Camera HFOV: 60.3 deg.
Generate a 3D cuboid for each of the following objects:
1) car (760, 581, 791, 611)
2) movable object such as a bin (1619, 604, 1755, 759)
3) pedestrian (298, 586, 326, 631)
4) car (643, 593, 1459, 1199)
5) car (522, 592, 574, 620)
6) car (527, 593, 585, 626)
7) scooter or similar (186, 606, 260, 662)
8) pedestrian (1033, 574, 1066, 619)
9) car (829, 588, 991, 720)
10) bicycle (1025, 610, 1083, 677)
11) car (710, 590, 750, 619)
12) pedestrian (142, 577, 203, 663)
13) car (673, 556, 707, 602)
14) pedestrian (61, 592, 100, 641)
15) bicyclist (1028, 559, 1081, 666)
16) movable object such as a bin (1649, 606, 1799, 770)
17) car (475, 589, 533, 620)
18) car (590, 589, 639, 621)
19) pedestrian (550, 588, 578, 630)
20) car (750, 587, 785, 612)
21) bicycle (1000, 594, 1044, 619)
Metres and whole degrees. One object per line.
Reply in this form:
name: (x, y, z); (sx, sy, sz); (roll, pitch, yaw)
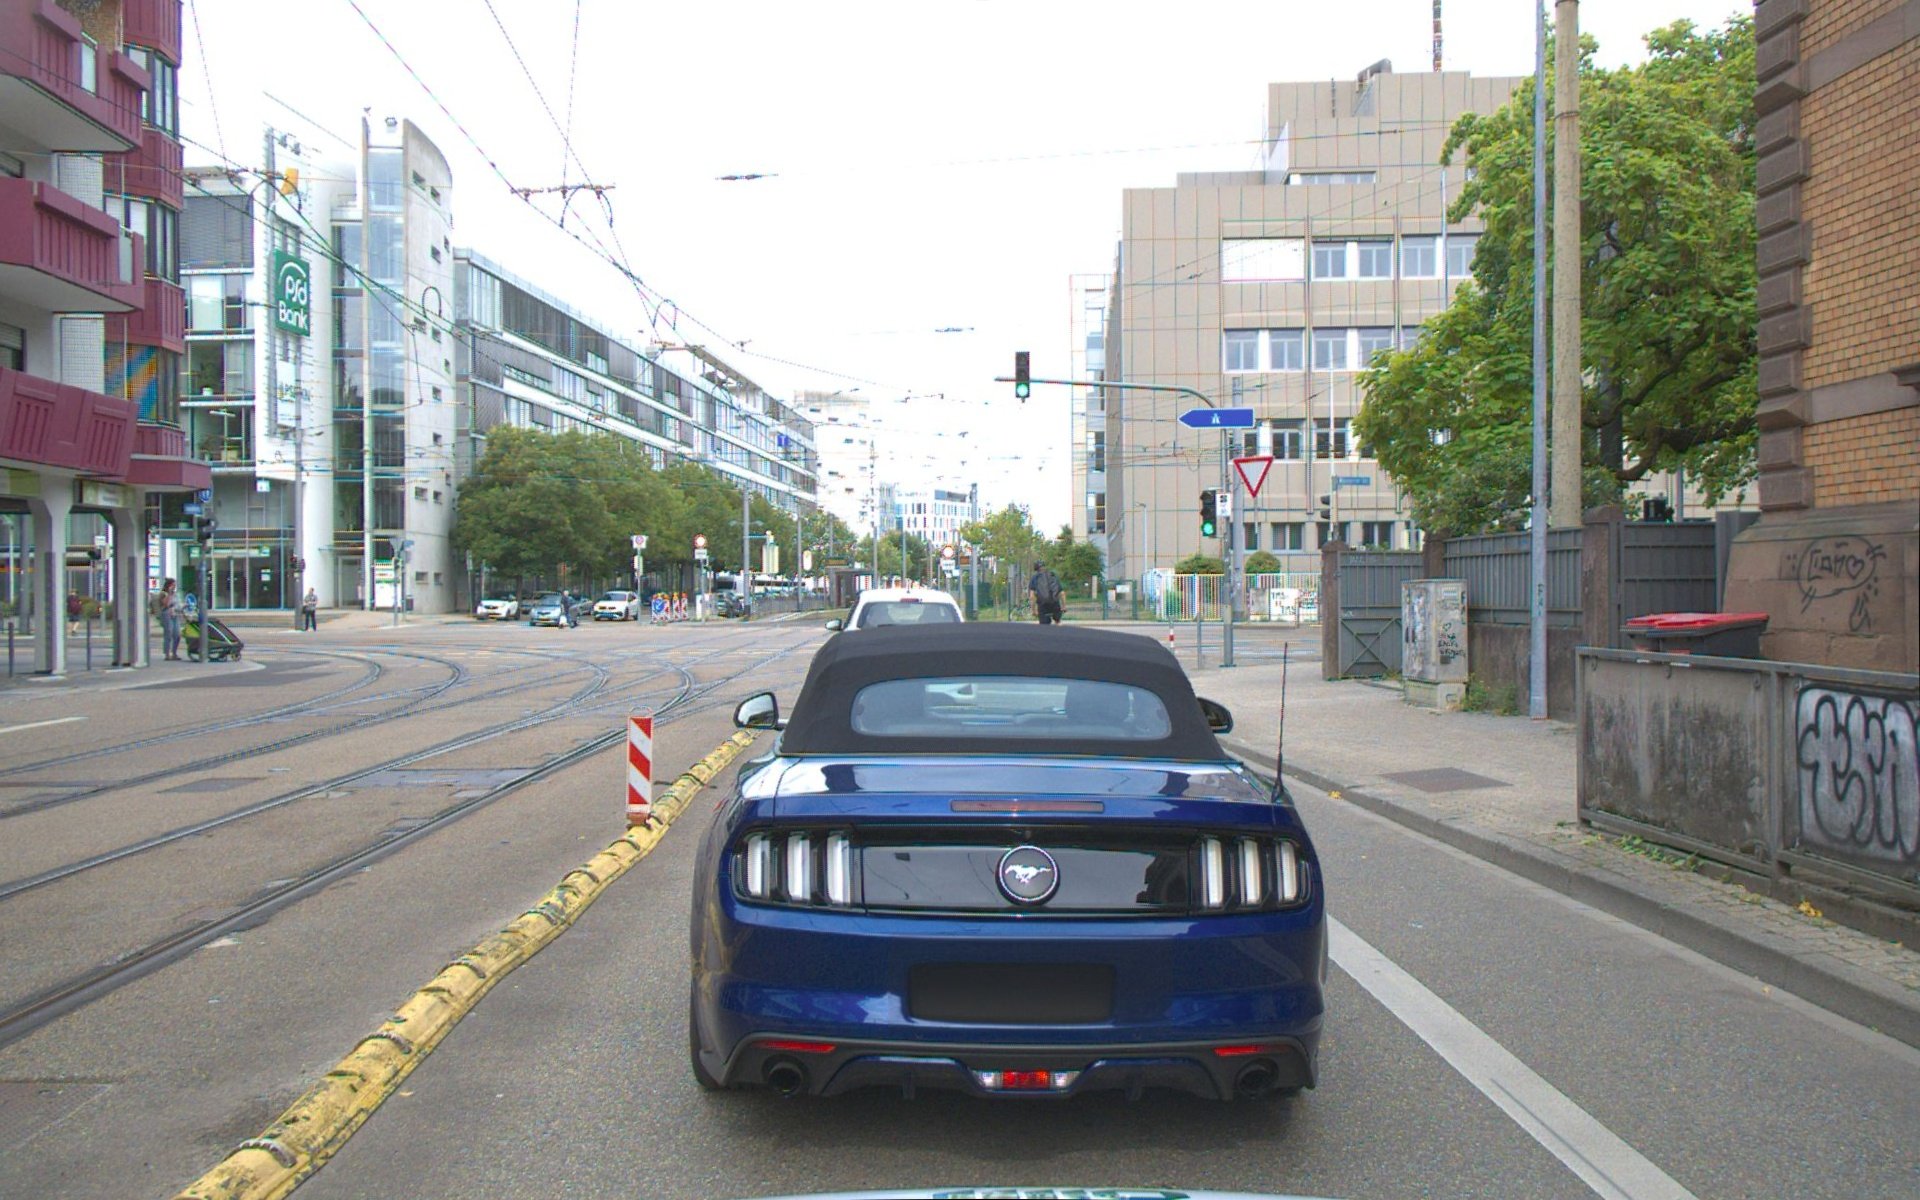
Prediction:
car: (-12.908, -0.265, 115.752); (1.749, 2.022, 4.120); (-1, 0, -1)
movable object such as a bin: (5.542, 0.607, 12.644); (0.638, 1.101, 0.677); (-4, 0, -6)
pedestrian: (-28.088, 0.366, 71.690); (0.816, 1.897, 0.766); (-1, 0, 11)
car: (0.191, 0.710, 5.901); (1.838, 1.428, 4.282); (1, 0, -1)
car: (-24.318, 0.324, 97.775); (1.791, 1.584, 4.218); (1, 1, 3)
car: (-20.176, 0.457, 82.690); (1.633, 1.533, 4.236); (1, 1, 3)
scooter or similar: (-15.568, 0.720, 34.955); (1.172, 1.148, 0.946); (0, 0, -3)
pedestrian: (3.851, -0.159, 71.174); (1.066, 1.931, 0.900); (-1, 0, 32)
car: (-0.724, 0.590, 20.796); (1.799, 1.464, 4.183); (-1, 0, -5)
bicycle: (1.628, 0.738, 28.922); (0.784, 1.105, 2.130); (-1, 0, -3)
car: (-13.466, 0.228, 97.041); (1.841, 1.657, 4.086); (-1, 0, -1)
pedestrian: (-16.586, 0.411, 34.855); (0.929, 1.774, 0.811); (0, 0, -5)
car: (-22.025, -1.713, 135.024); (1.945, 3.700, 4.513); (1, 0, 0)
pedestrian: (-30.587, 0.567, 57.510); (0.915, 1.700, 0.766); (-1, 0, 11)
bicyclist: (1.633, 0.214, 28.843); (0.780, 1.816, 1.232); (-1, 0, -3)
movable object such as a bin: (5.495, 0.616, 11.927); (0.650, 1.101, 0.700); (-4, 0, -6)
car: (-24.972, 0.224, 90.637); (1.791, 1.584, 4.218); (1, 1, 3)
car: (-19.590, 0.259, 93.991); (1.679, 1.689, 4.135); (1, 1, 3)
pedestrian: (-18.284, 0.415, 76.381); (0.968, 1.888, 0.902); (-1, 0, 6)
car: (-12.849, -0.045, 110.586); (1.830, 1.634, 4.212); (-1, 0, -1)
bicycle: (2.722, 0.282, 72.784); (0.629, 0.998, 2.125); (-1, -2, -42)
